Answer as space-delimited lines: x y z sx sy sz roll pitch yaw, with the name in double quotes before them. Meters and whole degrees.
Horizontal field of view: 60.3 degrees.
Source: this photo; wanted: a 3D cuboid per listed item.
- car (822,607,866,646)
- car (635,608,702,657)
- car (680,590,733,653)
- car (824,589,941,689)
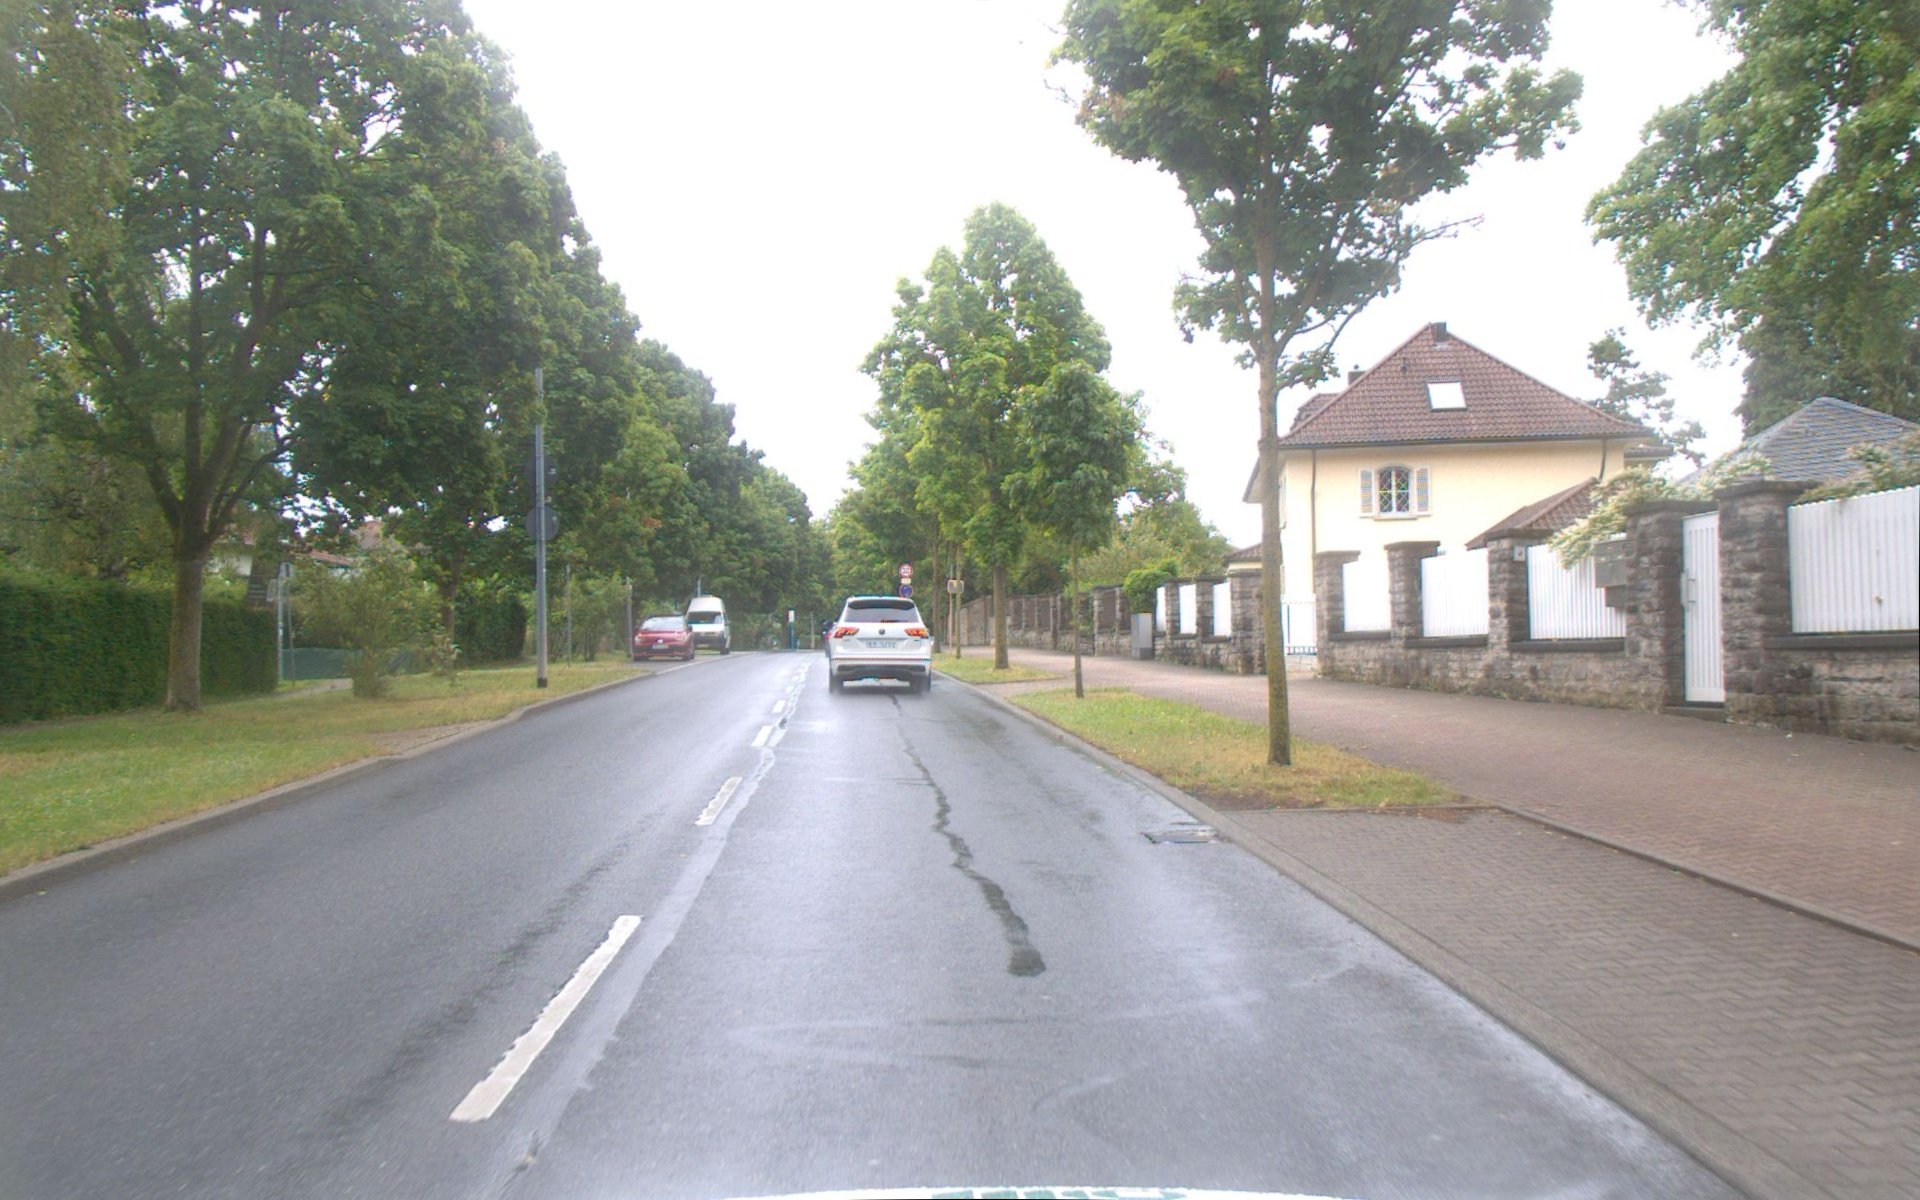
"car" -4.952 1.104 70.756 1.804 1.513 3.998 0 1 -3
"car" -9.330 1.039 53.174 1.807 1.491 4.244 -1 -1 -6
"car" -11.051 0.932 72.363 1.955 2.606 5.226 -1 -1 -5
"car" -1.433 0.668 30.071 1.957 1.660 3.997 1 0 -4
